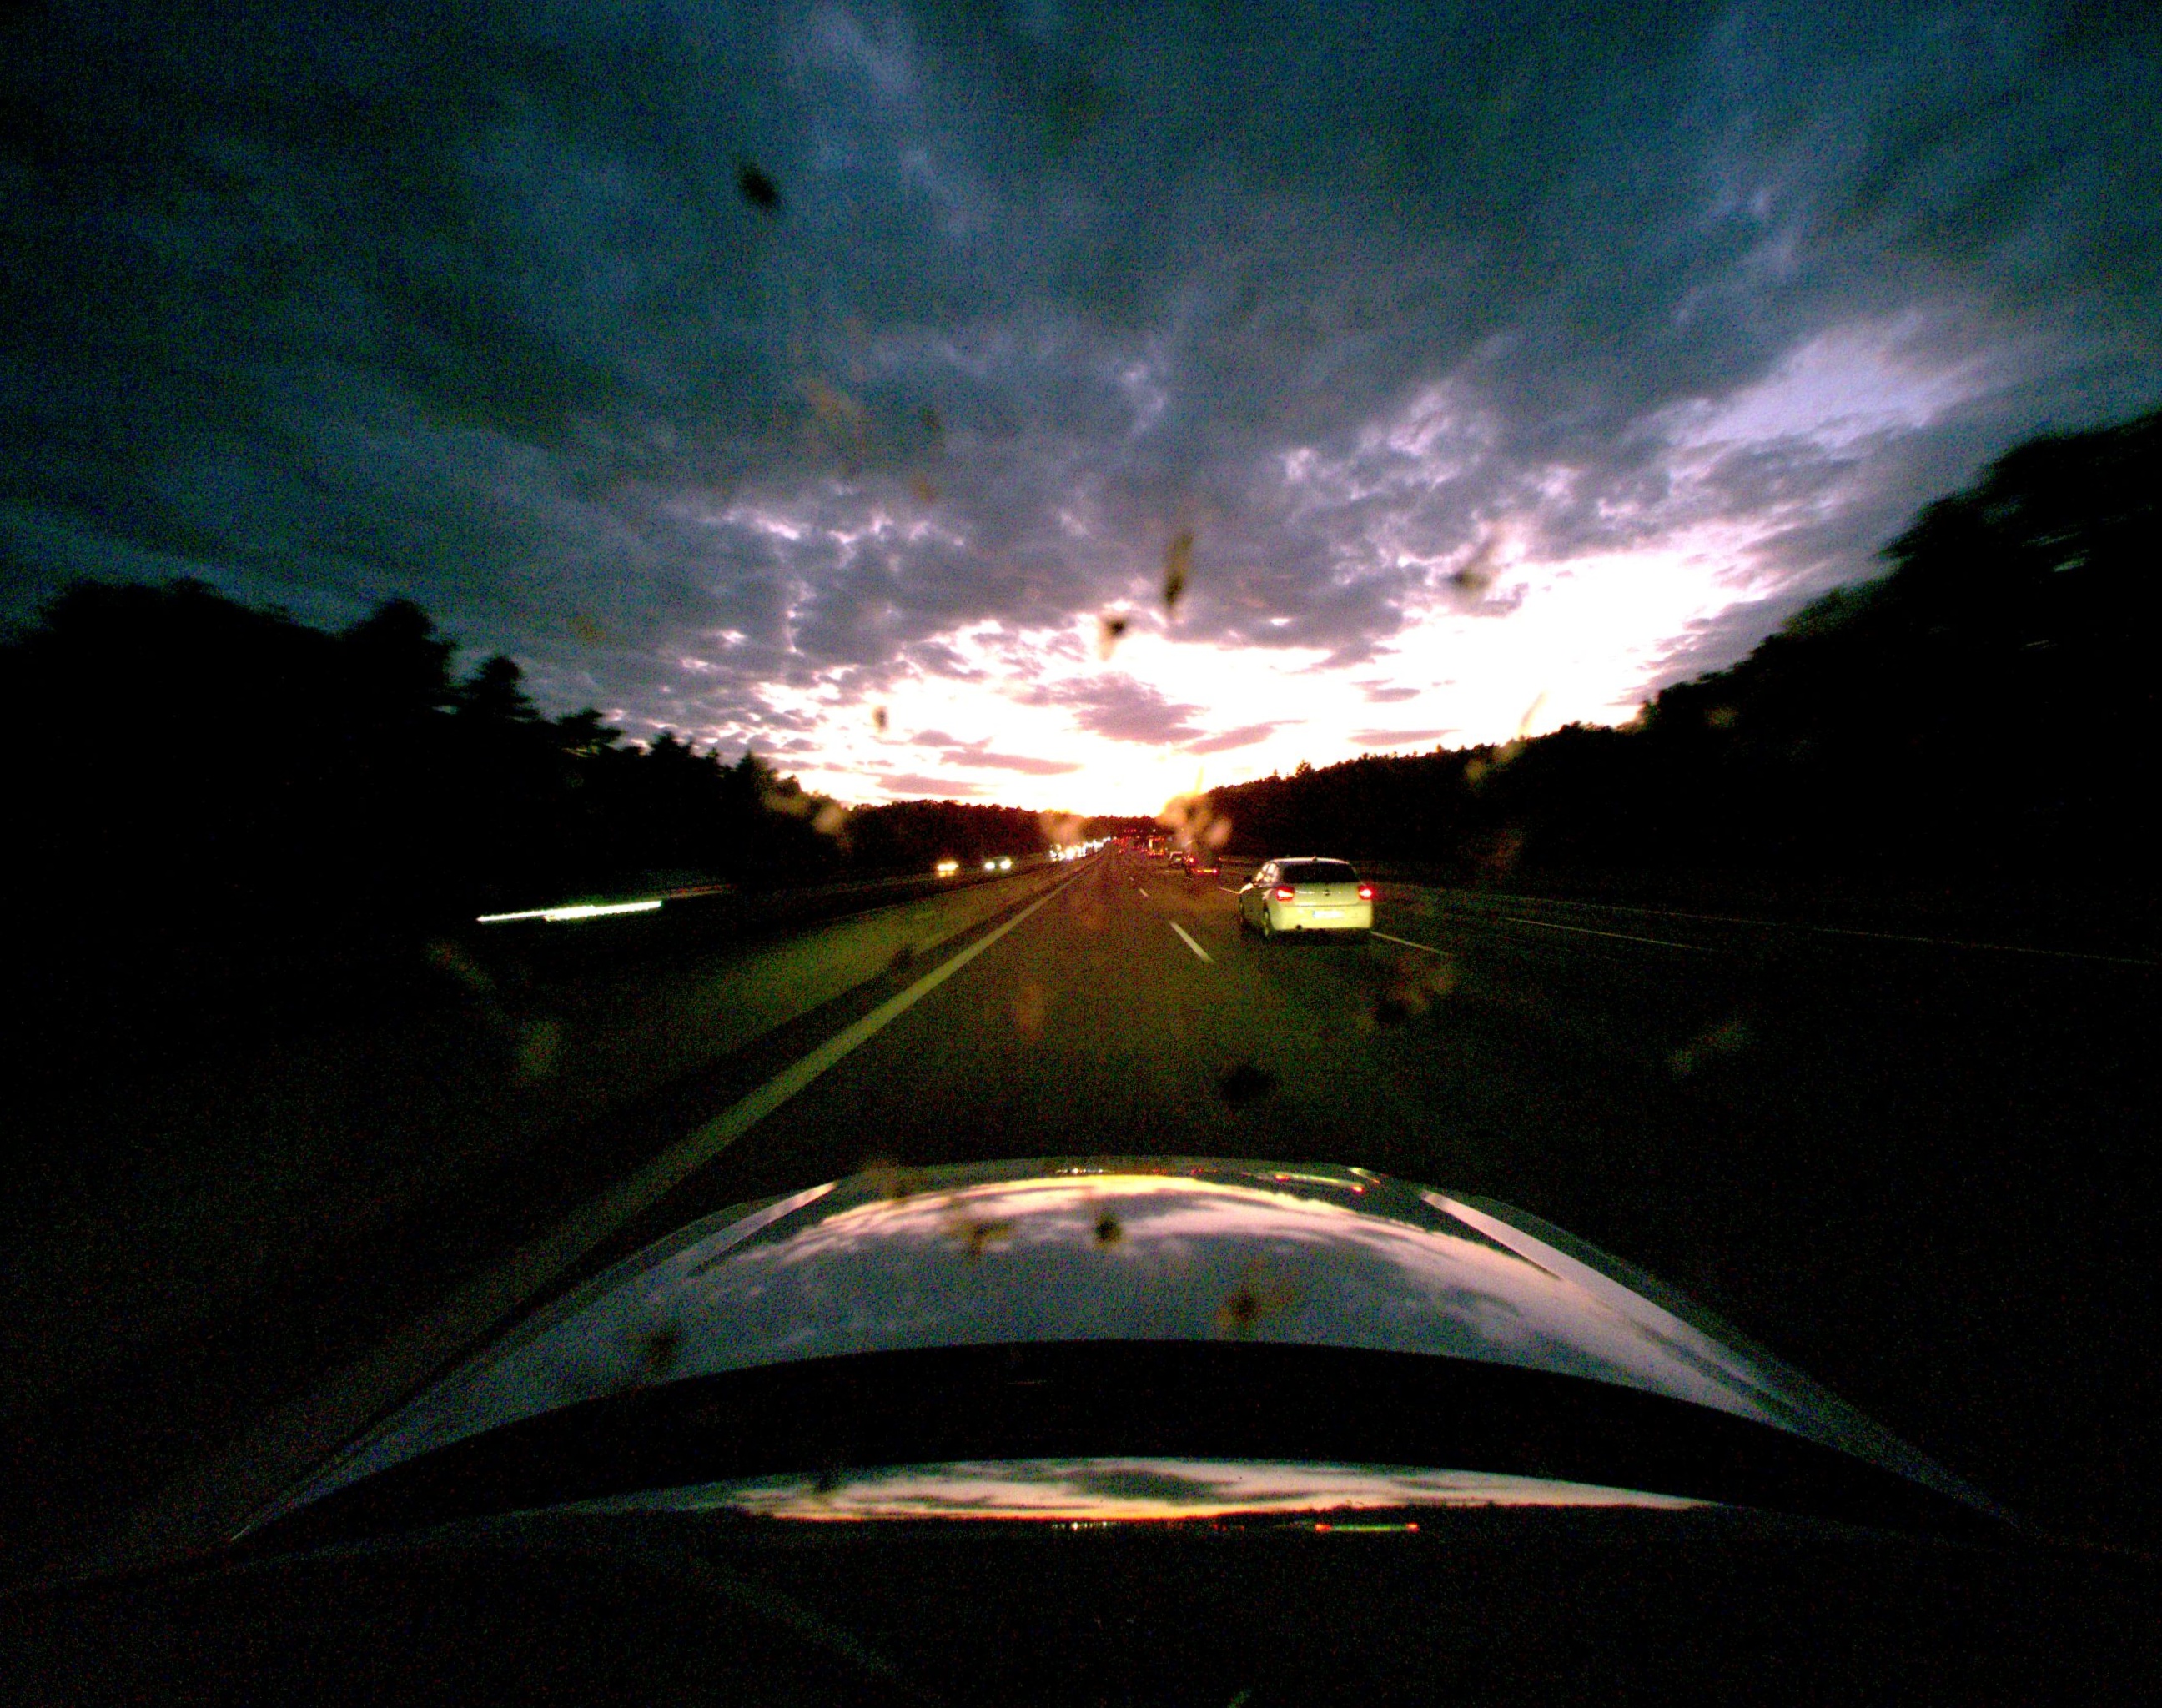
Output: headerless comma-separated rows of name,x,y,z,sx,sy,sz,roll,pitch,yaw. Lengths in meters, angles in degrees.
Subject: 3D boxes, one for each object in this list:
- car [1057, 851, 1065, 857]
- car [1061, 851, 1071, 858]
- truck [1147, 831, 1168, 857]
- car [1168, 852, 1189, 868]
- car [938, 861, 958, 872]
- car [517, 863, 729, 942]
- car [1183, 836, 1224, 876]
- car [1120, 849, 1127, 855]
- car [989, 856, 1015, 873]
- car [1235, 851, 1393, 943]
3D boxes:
car,-5.263,0.006,213.887,1.828,1.438,4.005,-2,0,4
car,-3.364,0.093,181.213,1.828,1.438,4.005,-2,0,4
truck,18.279,-2.380,195.882,4.133,5.856,14.305,-2,0,3
car,10.304,0.624,86.613,1.999,1.538,4.005,-2,0,4
car,-17.777,1.658,109.131,1.830,1.438,4.001,-2,0,1
car,-9.802,0.962,17.981,1.842,1.414,4.792,-2,0,2
car,7.834,0.104,52.762,2.156,2.419,5.570,-2,0,4
car,12.213,-0.481,233.412,1.828,1.570,4.005,-2,0,4
car,-7.371,0.938,75.994,1.829,1.438,4.002,-2,0,2
car,4.076,0.700,14.869,1.853,1.442,3.720,-1,-1,1
